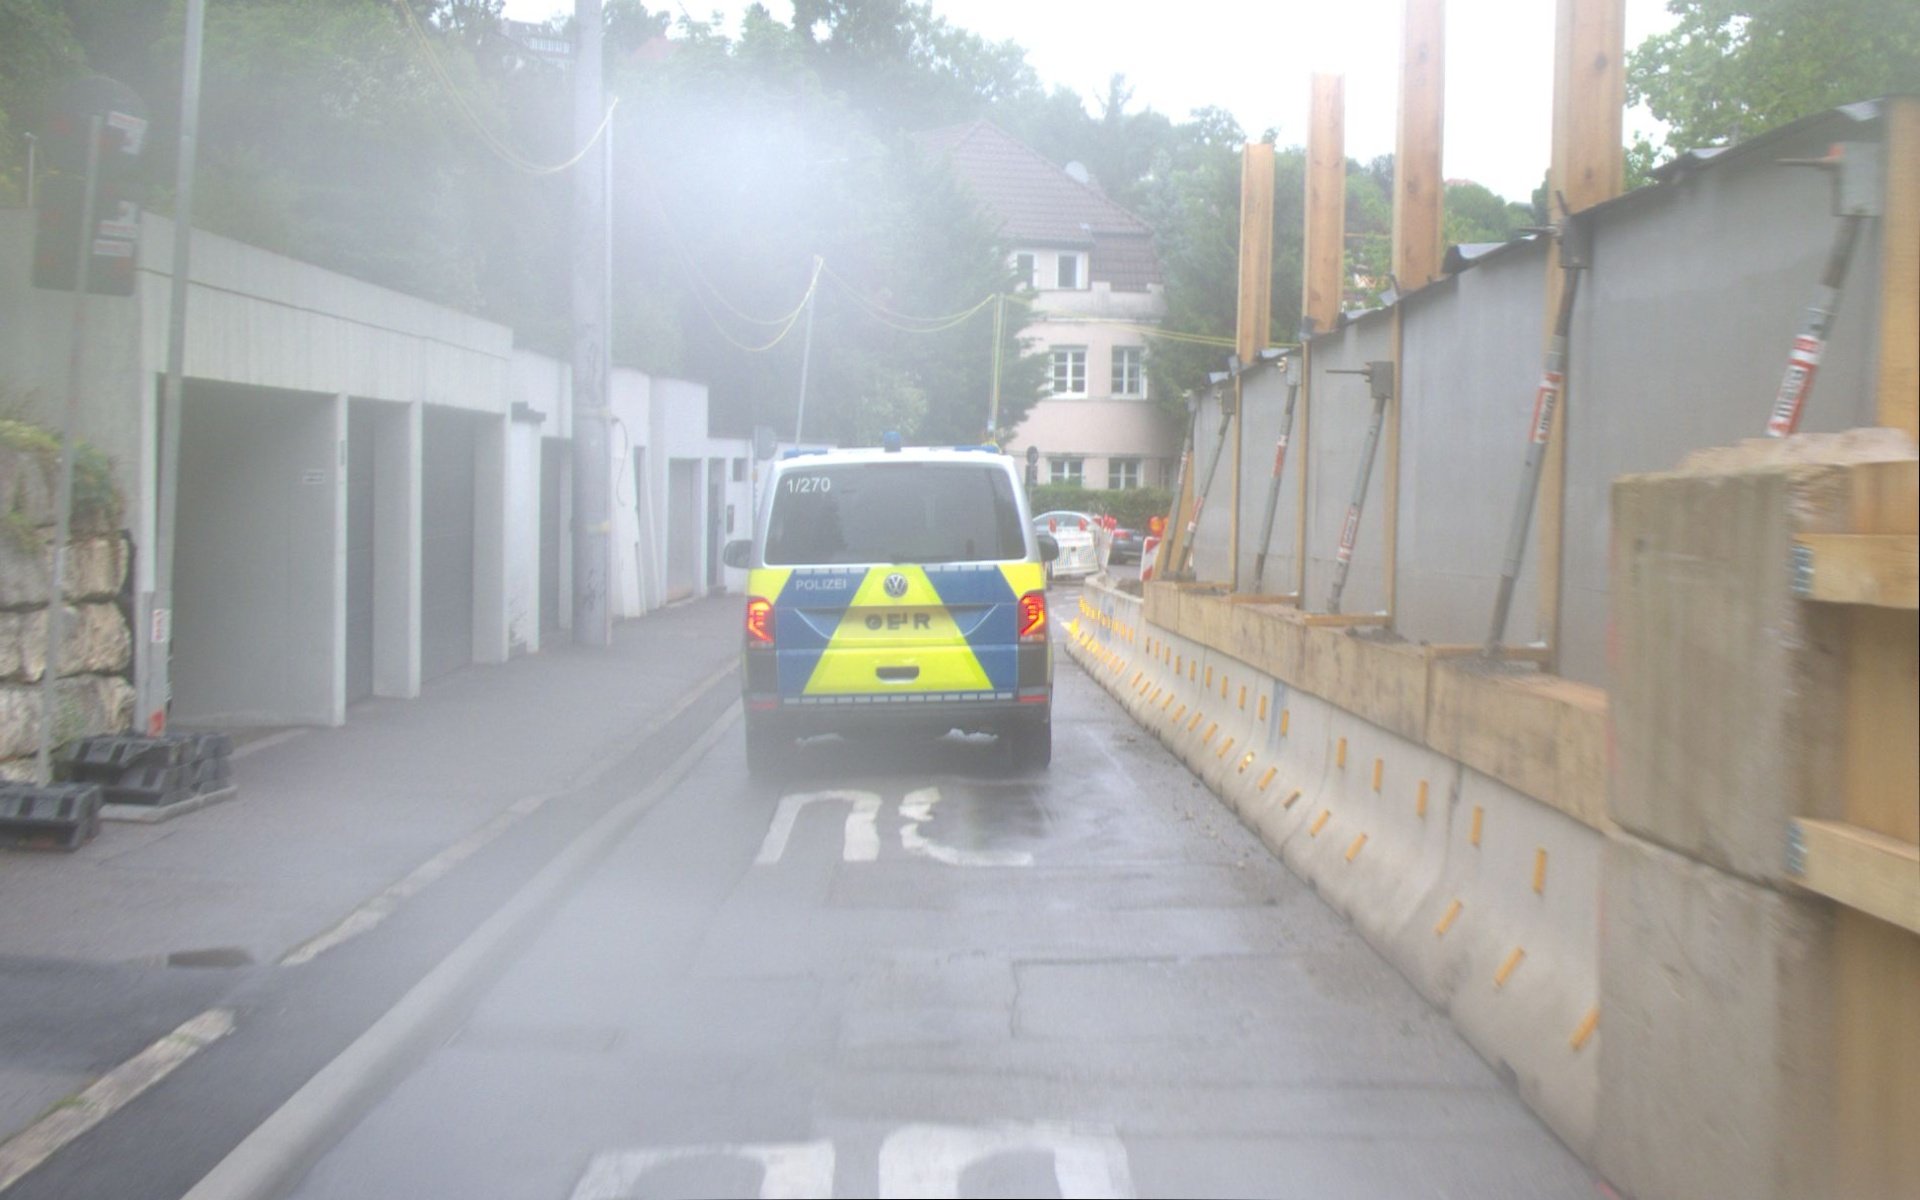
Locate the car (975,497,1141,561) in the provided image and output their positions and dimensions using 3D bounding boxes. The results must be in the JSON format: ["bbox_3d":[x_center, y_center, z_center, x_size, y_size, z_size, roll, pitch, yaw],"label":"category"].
[{"bbox_3d":[2.574,-1.868,90.446,3.994,1.512,1.725,3,1,30],"label":"car"}]

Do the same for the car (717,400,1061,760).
[{"bbox_3d":[-0.435,-0.148,21.977,1.908,2.003,4.440,2,1,-1],"label":"car"}]

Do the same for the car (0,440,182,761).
[{"bbox_3d":[-6.849,-0.083,19.426,4.401,1.700,2.111,2,1,-1],"label":"car"}]
